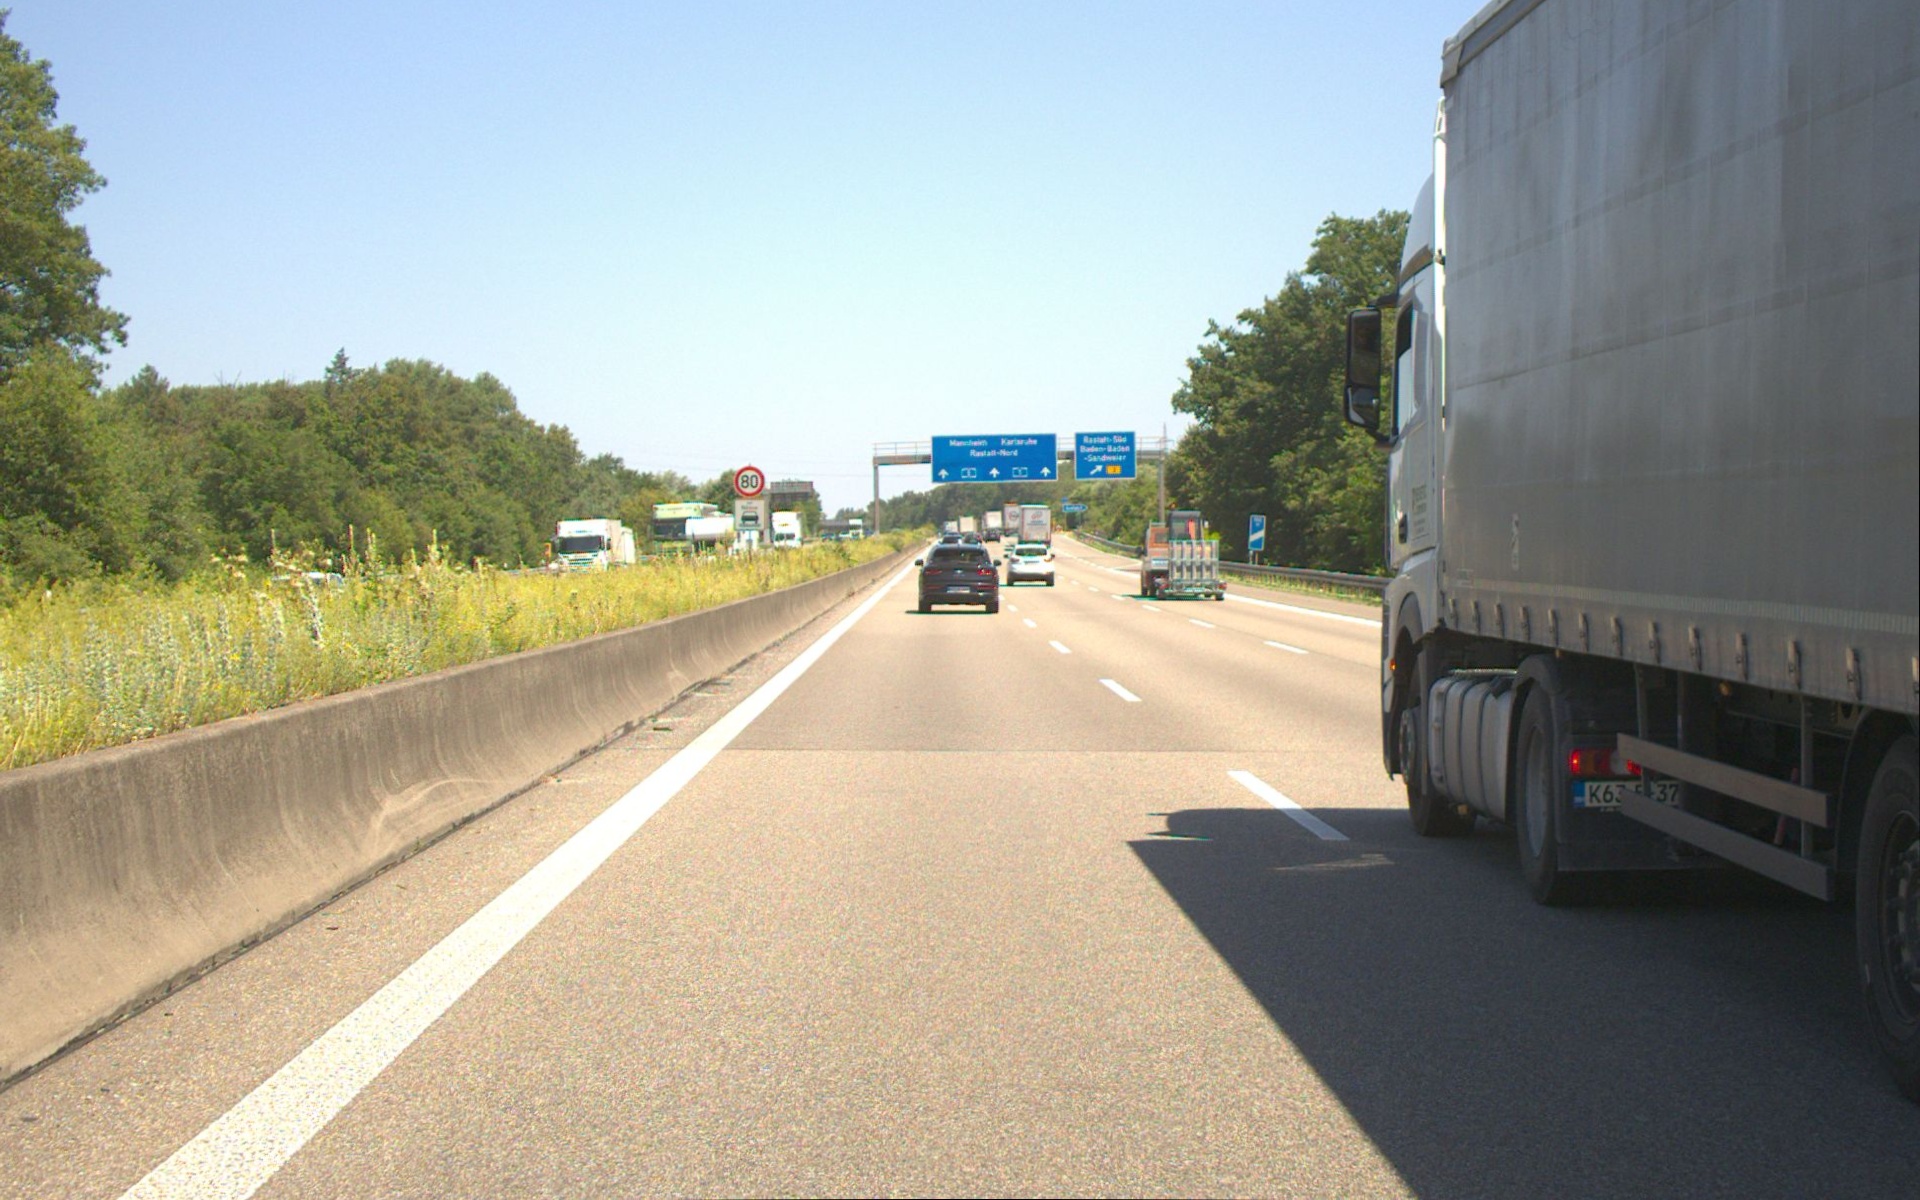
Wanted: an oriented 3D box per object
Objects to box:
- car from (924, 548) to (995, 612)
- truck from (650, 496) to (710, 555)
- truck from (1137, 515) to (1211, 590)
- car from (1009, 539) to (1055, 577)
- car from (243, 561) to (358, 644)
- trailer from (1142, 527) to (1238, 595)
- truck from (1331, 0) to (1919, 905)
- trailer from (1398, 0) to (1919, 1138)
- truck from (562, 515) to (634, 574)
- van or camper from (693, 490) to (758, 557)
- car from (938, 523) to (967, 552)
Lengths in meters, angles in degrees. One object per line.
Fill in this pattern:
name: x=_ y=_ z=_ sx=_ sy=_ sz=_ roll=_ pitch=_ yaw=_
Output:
car: x=-0.023 y=-0.519 z=86.276 sx=1.660 sy=1.544 sz=3.783 roll=0 pitch=1 yaw=-2
truck: x=-14.794 y=-3.944 z=181.892 sx=2.606 sy=2.998 sz=6.972 roll=-1 pitch=1 yaw=-1
truck: x=6.880 y=-1.545 z=111.026 sx=1.993 sy=2.365 sz=4.645 roll=0 pitch=1 yaw=-1
car: x=2.868 y=-1.685 z=137.331 sx=1.740 sy=1.481 sz=4.000 roll=0 pitch=1 yaw=0
car: x=-13.910 y=0.029 z=72.689 sx=1.648 sy=1.638 sz=4.000 roll=-1 pitch=1 yaw=0
trailer: x=7.017 y=-1.240 z=105.662 sx=2.420 sy=2.007 sz=6.034 roll=0 pitch=1 yaw=-1
truck: x=3.719 y=-0.729 z=18.338 sx=2.700 sy=4.080 sz=6.453 roll=0 pitch=0 yaw=-1
trailer: x=3.801 y=-0.660 z=11.121 sx=2.707 sy=4.054 sz=14.746 roll=0 pitch=0 yaw=-1
truck: x=-18.865 y=-2.934 z=179.764 sx=2.687 sy=2.932 sz=10.487 roll=-1 pitch=1 yaw=0
van or camper: x=-11.349 y=-3.724 z=166.935 sx=2.507 sy=3.144 sz=7.534 roll=0 pitch=1 yaw=1
car: x=-0.569 y=-4.454 z=245.407 sx=1.993 sy=2.007 sz=4.000 roll=-2 pitch=1 yaw=-1
